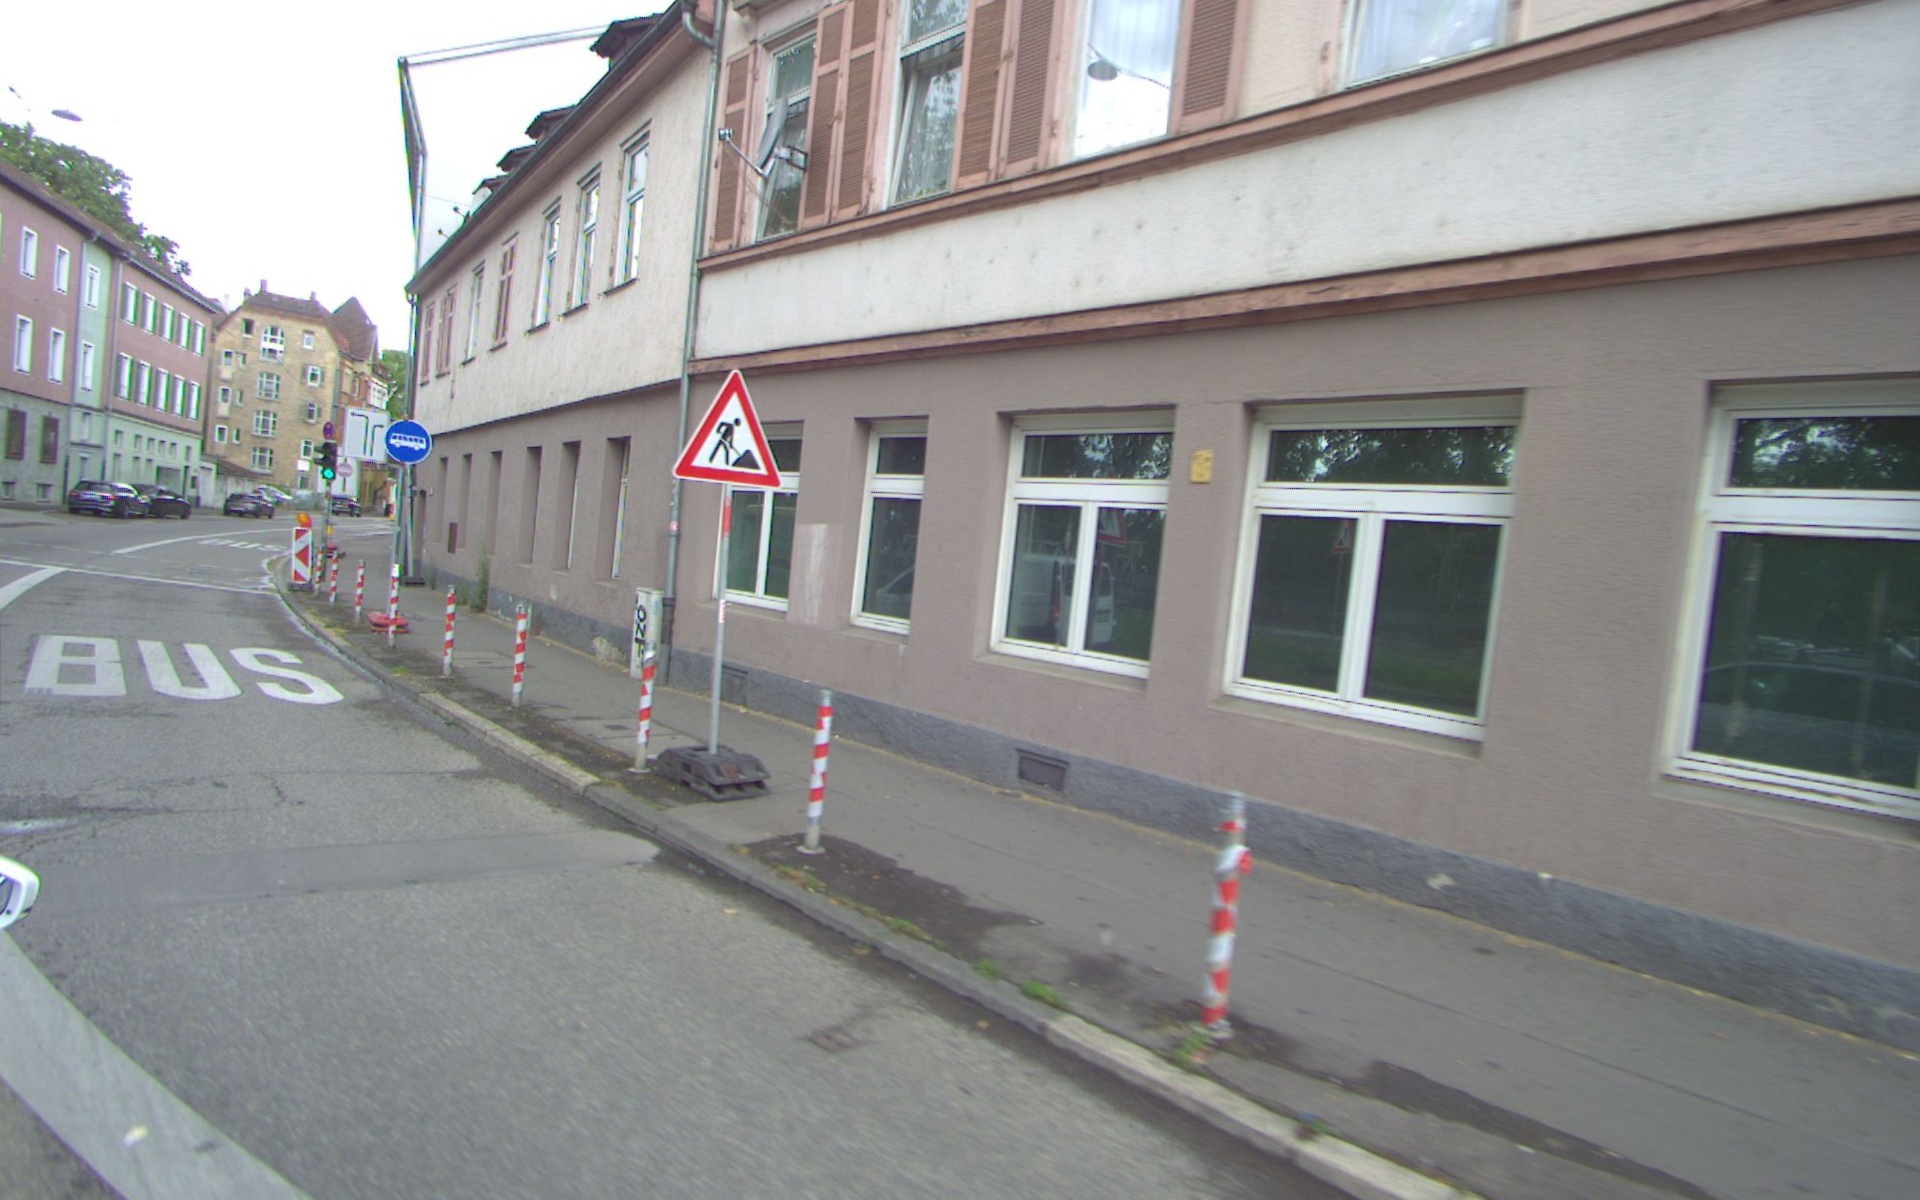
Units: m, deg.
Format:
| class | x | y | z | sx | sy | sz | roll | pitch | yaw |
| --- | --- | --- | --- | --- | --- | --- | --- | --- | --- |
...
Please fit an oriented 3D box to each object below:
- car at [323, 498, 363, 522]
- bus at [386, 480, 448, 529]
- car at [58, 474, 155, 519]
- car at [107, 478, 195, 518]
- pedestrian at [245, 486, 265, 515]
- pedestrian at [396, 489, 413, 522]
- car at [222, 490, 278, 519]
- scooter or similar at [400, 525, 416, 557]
| class | x | y | z | sx | sy | sz | roll | pitch | yaw |
| --- | --- | --- | --- | --- | --- | --- | --- | --- | --- |
| car | -52.757 | -7.697 | 86.039 | 1.933 | 1.757 | 4.746 | 6 | 3 | -21 |
| bus | -42.480 | -7.396 | 79.001 | 2.635 | 3.176 | 9.983 | 8 | 2 | -21 |
| car | -34.775 | -4.166 | 41.123 | 1.811 | 1.474 | 4.553 | 6 | 2 | -25 |
| car | -37.194 | -4.651 | 46.405 | 1.810 | 1.474 | 4.891 | 6 | 2 | -23 |
| pedestrian | -47.674 | -6.730 | 68.060 | 0.754 | 1.766 | 0.978 | 8 | 1 | -24 |
| pedestrian | -31.861 | -5.406 | 57.704 | 0.795 | 1.820 | 0.935 | 2 | 6 | -28 |
| car | -43.139 | -5.795 | 61.207 | 1.975 | 1.305 | 3.975 | 8 | 0 | -25 |
| scooter or similar | -20.352 | -2.186 | 37.093 | 0.424 | 1.112 | 1.428 | 3 | 4 | -28 |
